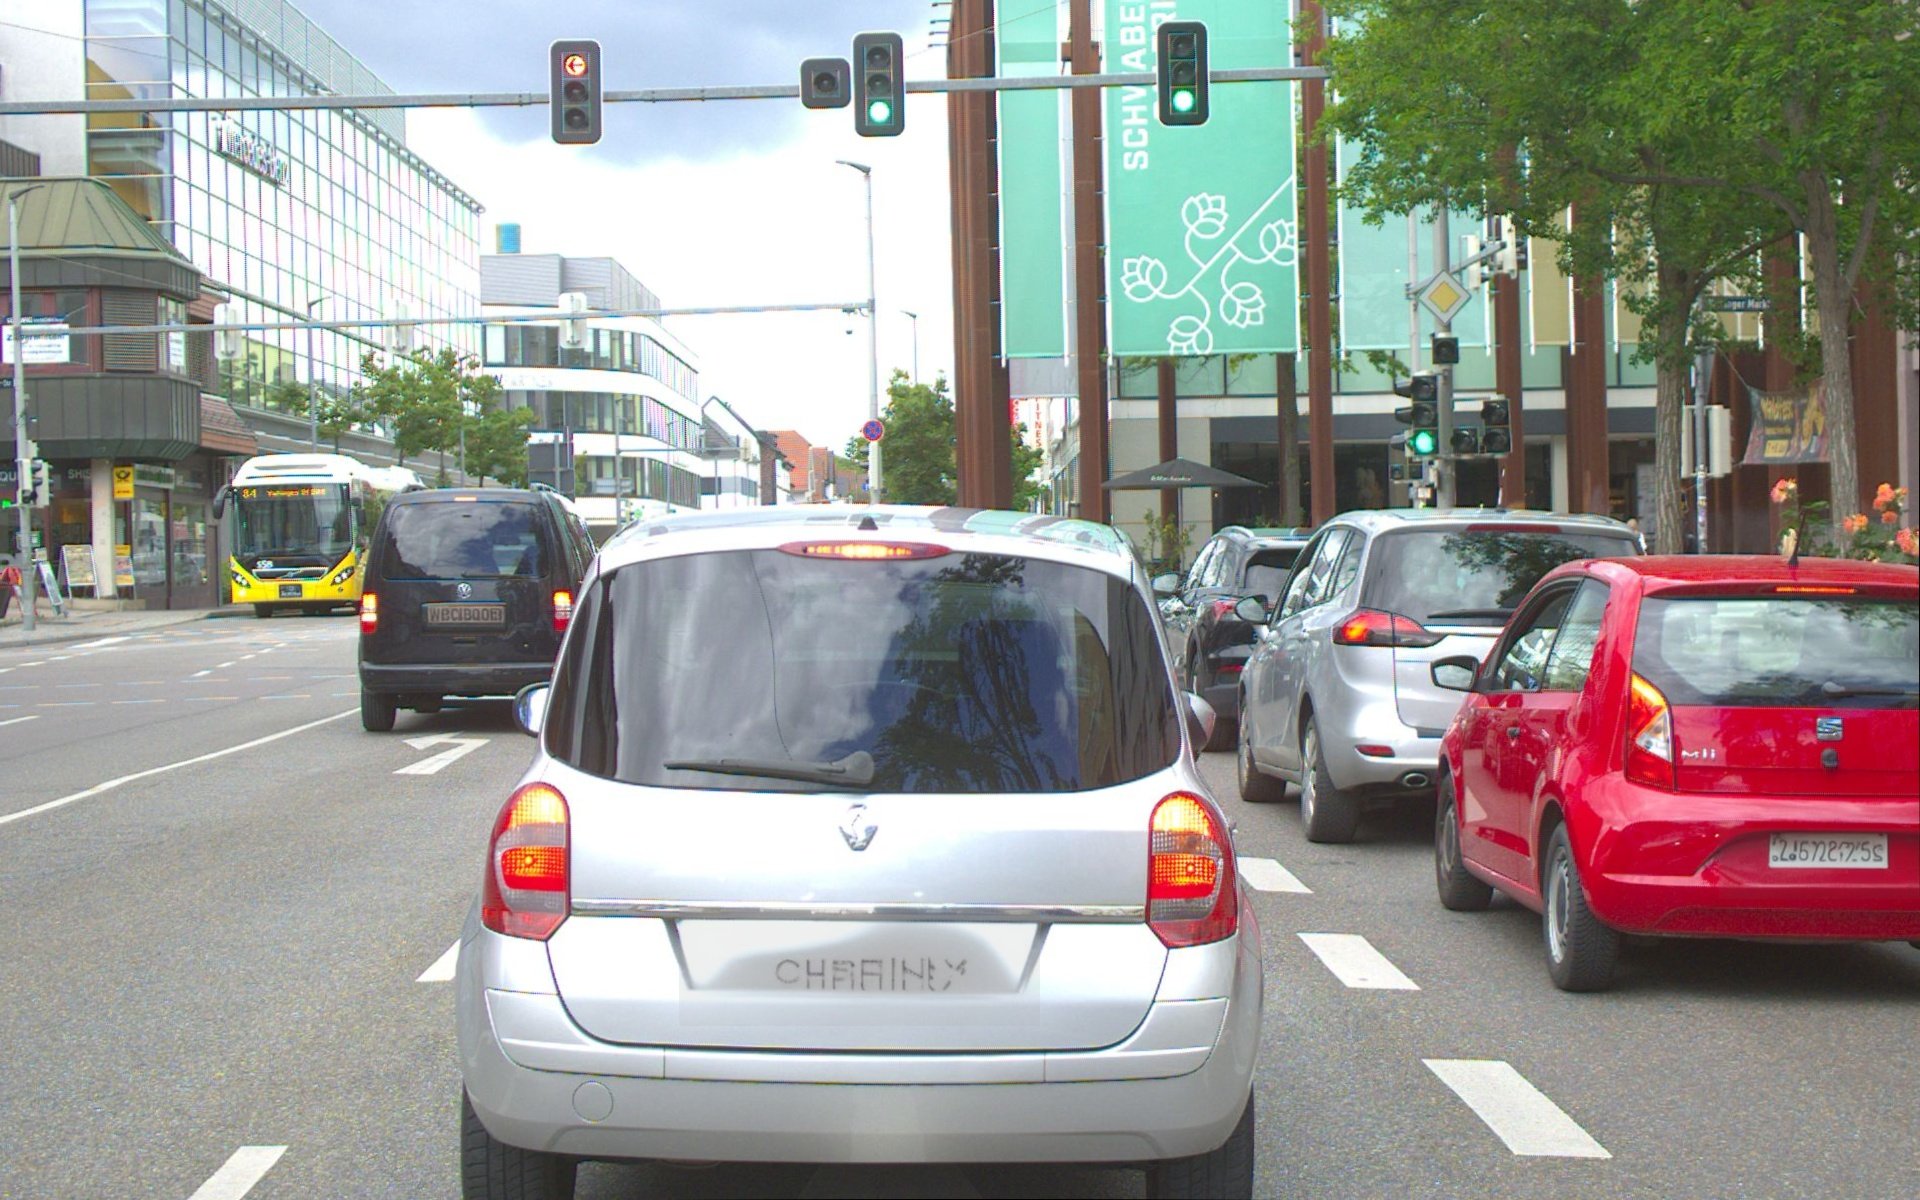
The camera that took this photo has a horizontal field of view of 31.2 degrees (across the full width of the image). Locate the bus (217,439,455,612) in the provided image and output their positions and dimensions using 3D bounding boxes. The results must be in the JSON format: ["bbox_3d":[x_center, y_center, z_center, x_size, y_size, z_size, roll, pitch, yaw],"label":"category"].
[{"bbox_3d":[-13.486,-1.646,75.515,2.987,3.316,12.307,-3,1,-1],"label":"bus"}]

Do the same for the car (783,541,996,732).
[{"bbox_3d":[-0.584,0.263,29.273,1.669,1.490,3.642,1,1,-1],"label":"car"}]

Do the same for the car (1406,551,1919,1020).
[{"bbox_3d":[2.729,0.567,12.686,1.626,1.443,3.642,1,1,-1],"label":"car"}]

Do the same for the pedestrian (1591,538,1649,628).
[{"bbox_3d":[11.817,-0.306,61.580,0.821,1.589,1.039,-1,1,0],"label":"pedestrian"}]

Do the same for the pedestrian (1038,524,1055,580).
[{"bbox_3d":[2.419,-1.345,96.557,0.427,1.544,0.481,-1,1,-2],"label":"pedestrian"}]

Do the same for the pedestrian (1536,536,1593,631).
[{"bbox_3d":[10.508,-0.301,59.792,0.741,1.620,0.954,-1,1,-4],"label":"pedestrian"}]

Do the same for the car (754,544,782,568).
[{"bbox_3d":[-12.790,-2.940,229.232,1.660,1.460,4.000,-2,1,0],"label":"car"}]

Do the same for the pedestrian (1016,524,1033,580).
[{"bbox_3d":[1.821,-1.350,96.457,0.427,1.544,0.481,-1,1,-2],"label":"pedestrian"}]

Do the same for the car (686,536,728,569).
[{"bbox_3d":[-11.869,-2.250,161.640,1.660,1.460,4.000,-2,1,0],"label":"car"}]

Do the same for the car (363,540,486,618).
[{"bbox_3d":[-10.377,-0.418,66.878,1.759,1.443,4.036,-1,1,0],"label":"car"}]

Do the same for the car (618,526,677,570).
[{"bbox_3d":[-10.826,-1.812,119.346,1.660,1.460,4.000,-2,1,0],"label":"car"}]

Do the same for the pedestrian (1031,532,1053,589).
[{"bbox_3d":[1.779,-0.859,74.514,0.447,1.216,0.606,-1,1,2],"label":"pedestrian"}]

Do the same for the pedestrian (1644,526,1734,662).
[{"bbox_3d":[9.690,-0.088,45.708,0.878,1.761,1.120,-1,1,-3],"label":"pedestrian"}]

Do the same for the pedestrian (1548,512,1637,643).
[{"bbox_3d":[8.254,-0.296,44.926,0.878,1.675,1.120,-1,1,-3],"label":"pedestrian"}]

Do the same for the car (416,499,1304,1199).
[{"bbox_3d":[-0.214,0.560,8.381,1.669,1.549,3.642,1,1,-1],"label":"car"}]

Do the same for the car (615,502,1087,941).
[{"bbox_3d":[-0.412,0.401,14.176,1.669,1.549,3.642,1,1,-1],"label":"car"}]

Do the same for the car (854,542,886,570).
[{"bbox_3d":[-5.016,-2.450,191.107,1.660,1.460,4.000,-2,1,0],"label":"car"}]

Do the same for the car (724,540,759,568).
[{"bbox_3d":[-12.096,-2.544,190.631,1.660,1.460,4.000,-2,1,0],"label":"car"}]

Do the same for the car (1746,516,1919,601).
[{"bbox_3d":[15.457,-0.698,57.448,4.172,1.399,1.801,0,1,-3],"label":"car"}]

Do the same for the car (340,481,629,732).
[{"bbox_3d":[-3.710,0.000,27.534,1.707,1.814,4.572,1,1,-1],"label":"car"}]

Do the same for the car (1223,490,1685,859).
[{"bbox_3d":[2.476,0.306,18.257,1.739,1.695,4.381,1,1,-1],"label":"car"}]

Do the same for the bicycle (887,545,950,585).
[{"bbox_3d":[-1.055,-0.903,88.084,1.561,0.989,0.752,-1,1,3],"label":"bicycle"}]

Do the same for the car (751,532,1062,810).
[{"bbox_3d":[-0.314,0.353,20.611,1.669,1.490,3.642,1,1,-1],"label":"car"}]

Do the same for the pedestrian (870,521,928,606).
[{"bbox_3d":[-1.180,-0.707,66.707,0.871,1.641,0.679,0,2,34],"label":"pedestrian"}]

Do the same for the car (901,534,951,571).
[{"bbox_3d":[-1.299,-1.841,132.363,1.877,1.330,4.000,1,1,0],"label":"car"}]

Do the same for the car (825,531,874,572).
[{"bbox_3d":[-4.121,-1.812,128.655,1.660,1.460,4.000,-2,1,0],"label":"car"}]

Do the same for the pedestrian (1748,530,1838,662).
[{"bbox_3d":[11.336,-0.065,46.831,0.878,1.761,1.120,-1,1,-3],"label":"pedestrian"}]

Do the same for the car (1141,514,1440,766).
[{"bbox_3d":[2.377,0.230,25.746,1.739,1.695,4.381,1,1,-1],"label":"car"}]
